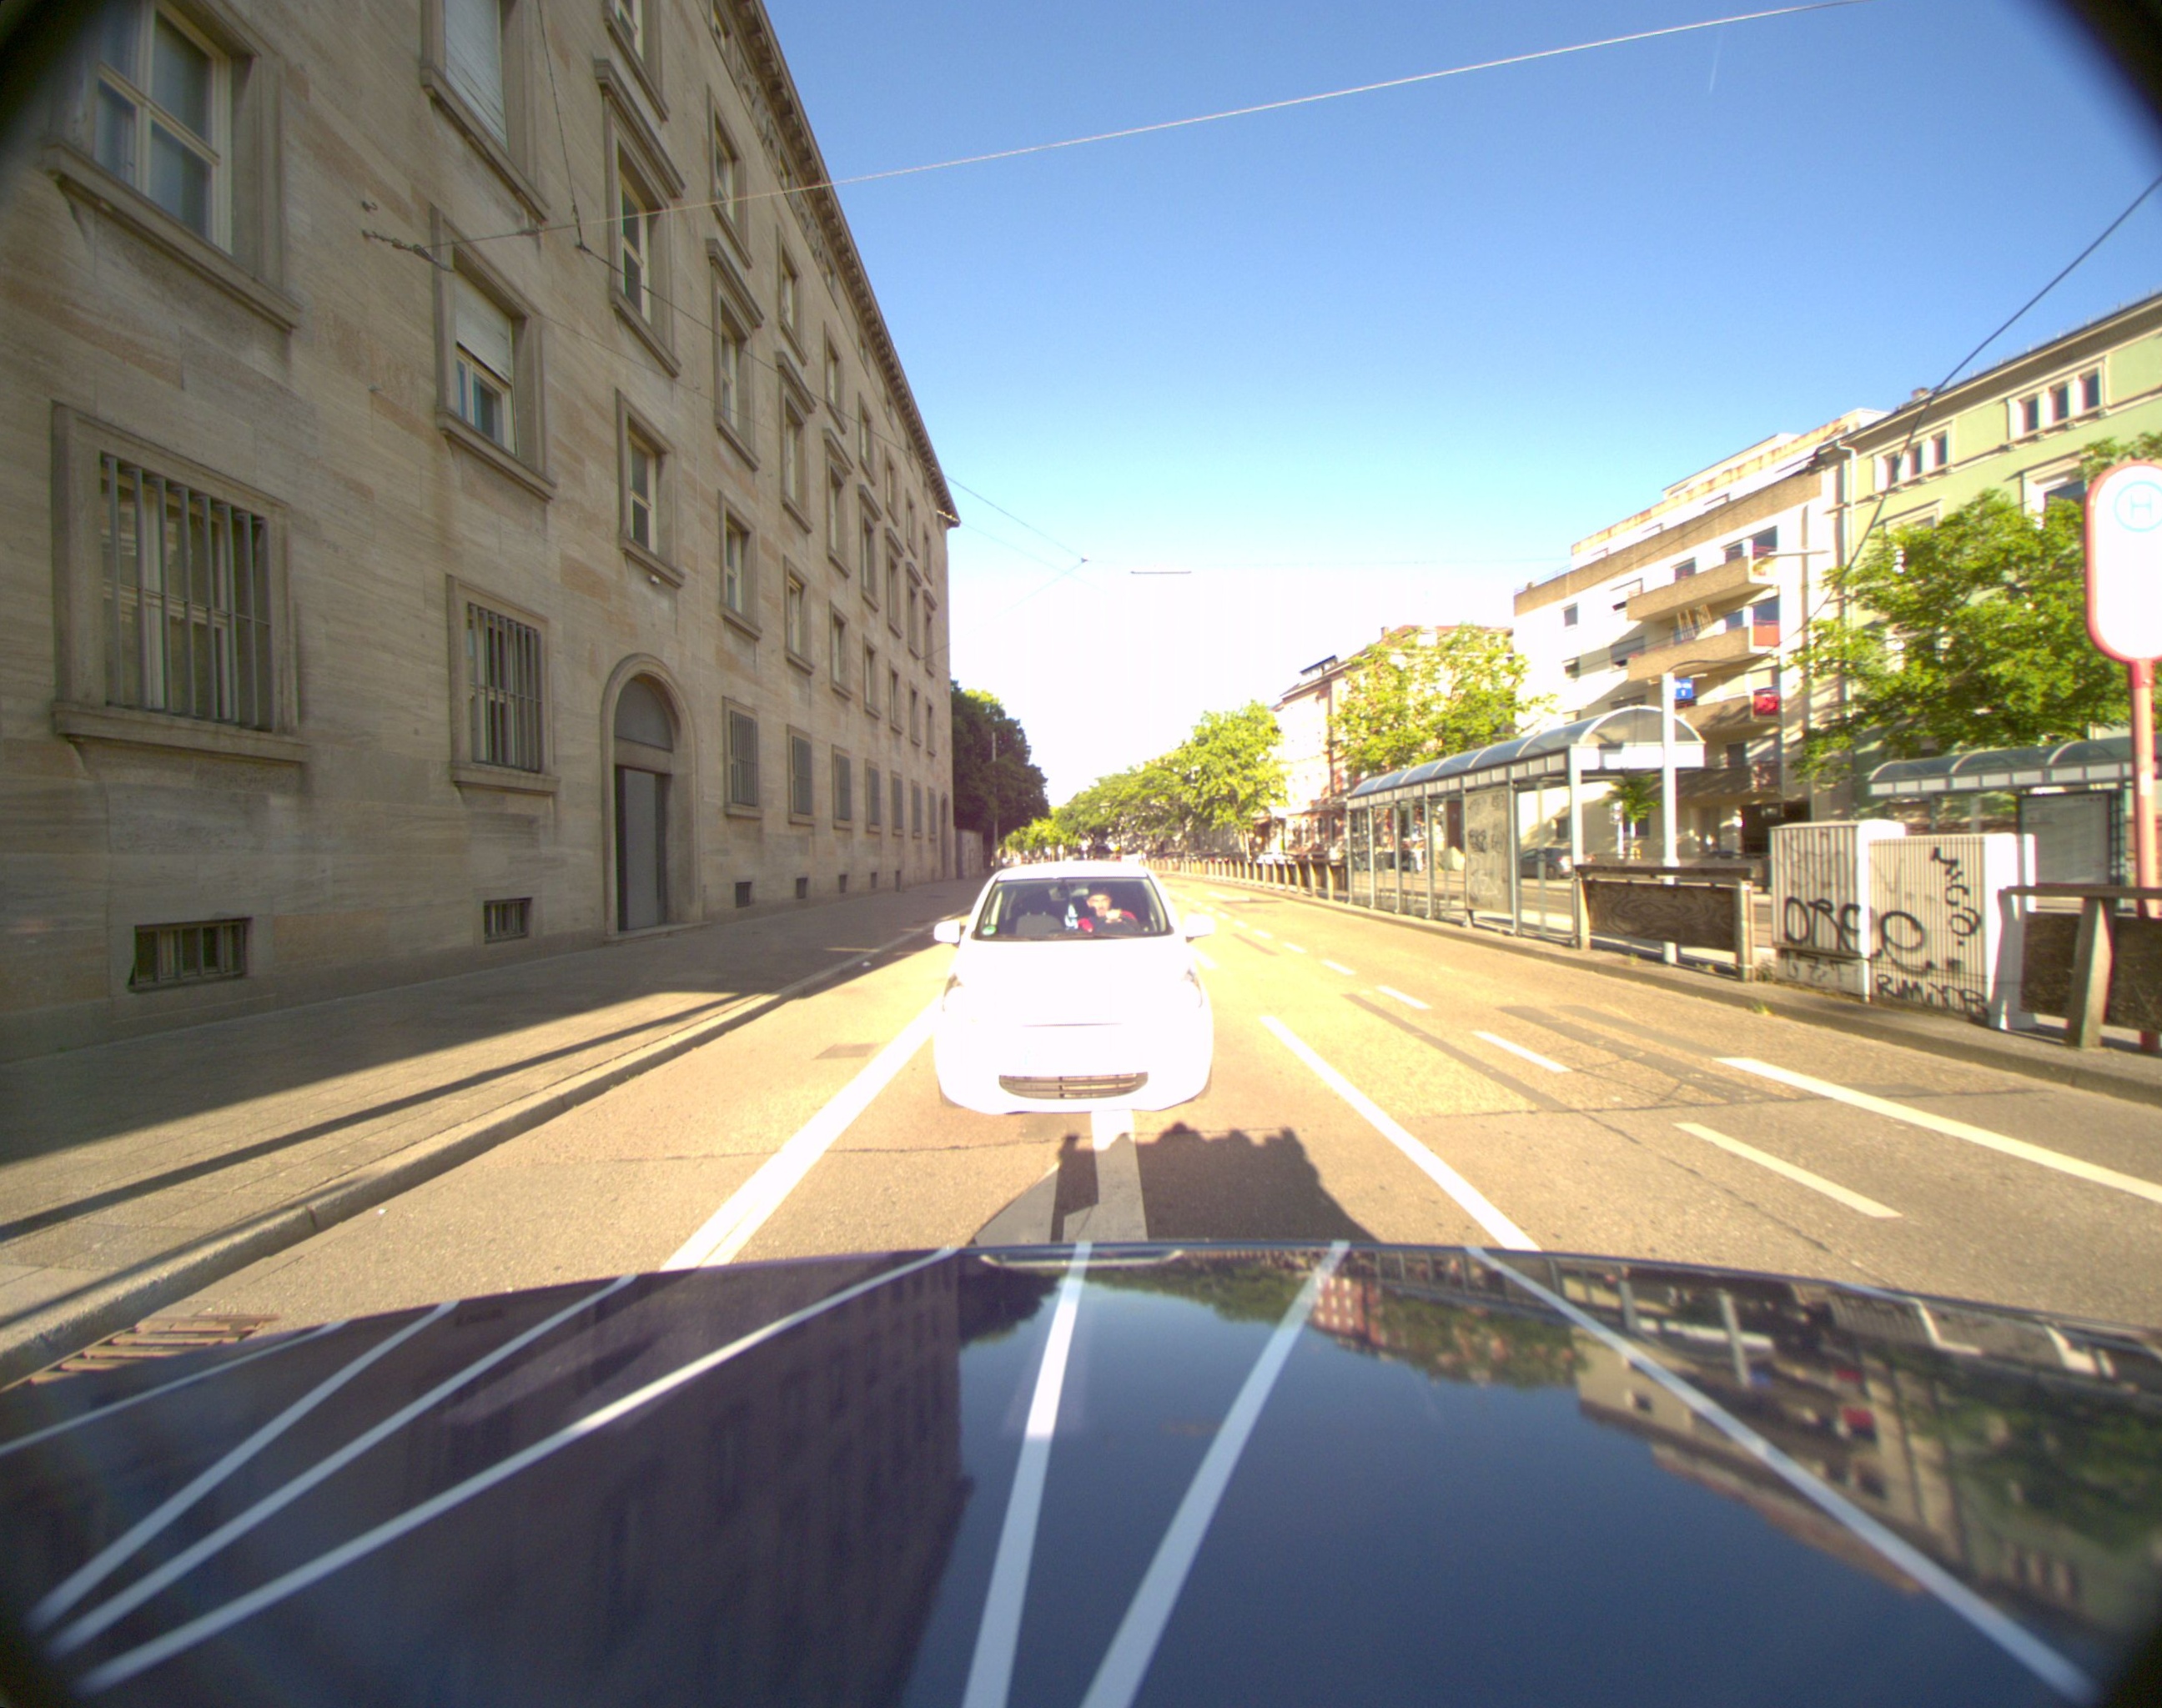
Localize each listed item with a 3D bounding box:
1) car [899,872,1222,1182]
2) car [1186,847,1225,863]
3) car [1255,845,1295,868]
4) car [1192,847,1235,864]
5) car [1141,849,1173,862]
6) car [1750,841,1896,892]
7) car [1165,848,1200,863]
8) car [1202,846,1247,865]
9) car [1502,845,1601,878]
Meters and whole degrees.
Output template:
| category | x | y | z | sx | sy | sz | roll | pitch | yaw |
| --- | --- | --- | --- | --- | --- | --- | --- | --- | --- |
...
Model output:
| category | x | y | z | sx | sy | sz | roll | pitch | yaw |
| --- | --- | --- | --- | --- | --- | --- | --- | --- | --- |
| car | -0.079 | 0.923 | 5.674 | 1.612 | 1.450 | 3.667 | -1 | 0 | 1 |
| car | 13.162 | 0.091 | 80.526 | 3.996 | 1.674 | 2.000 | -1 | 0 | 4 |
| car | 16.308 | 0.169 | 63.673 | 1.994 | 1.713 | 4.007 | 0 | 2 | 34 |
| car | 13.355 | 0.120 | 76.723 | 3.996 | 1.674 | 2.000 | -1 | 0 | 4 |
| car | 9.569 | 0.137 | 95.712 | 3.864 | 1.583 | 2.001 | -1 | 0 | 4 |
| car | 23.935 | 0.373 | 24.547 | 3.796 | 1.526 | 1.772 | -1 | 0 | -17 |
| car | 11.441 | 0.151 | 86.086 | 3.864 | 1.583 | 2.001 | -1 | 0 | 5 |
| car | 13.641 | 0.135 | 72.589 | 3.996 | 1.674 | 2.000 | -1 | 0 | 4 |
| car | 20.847 | 0.320 | 33.830 | 1.615 | 1.387 | 3.516 | -1 | 0 | -19 |
